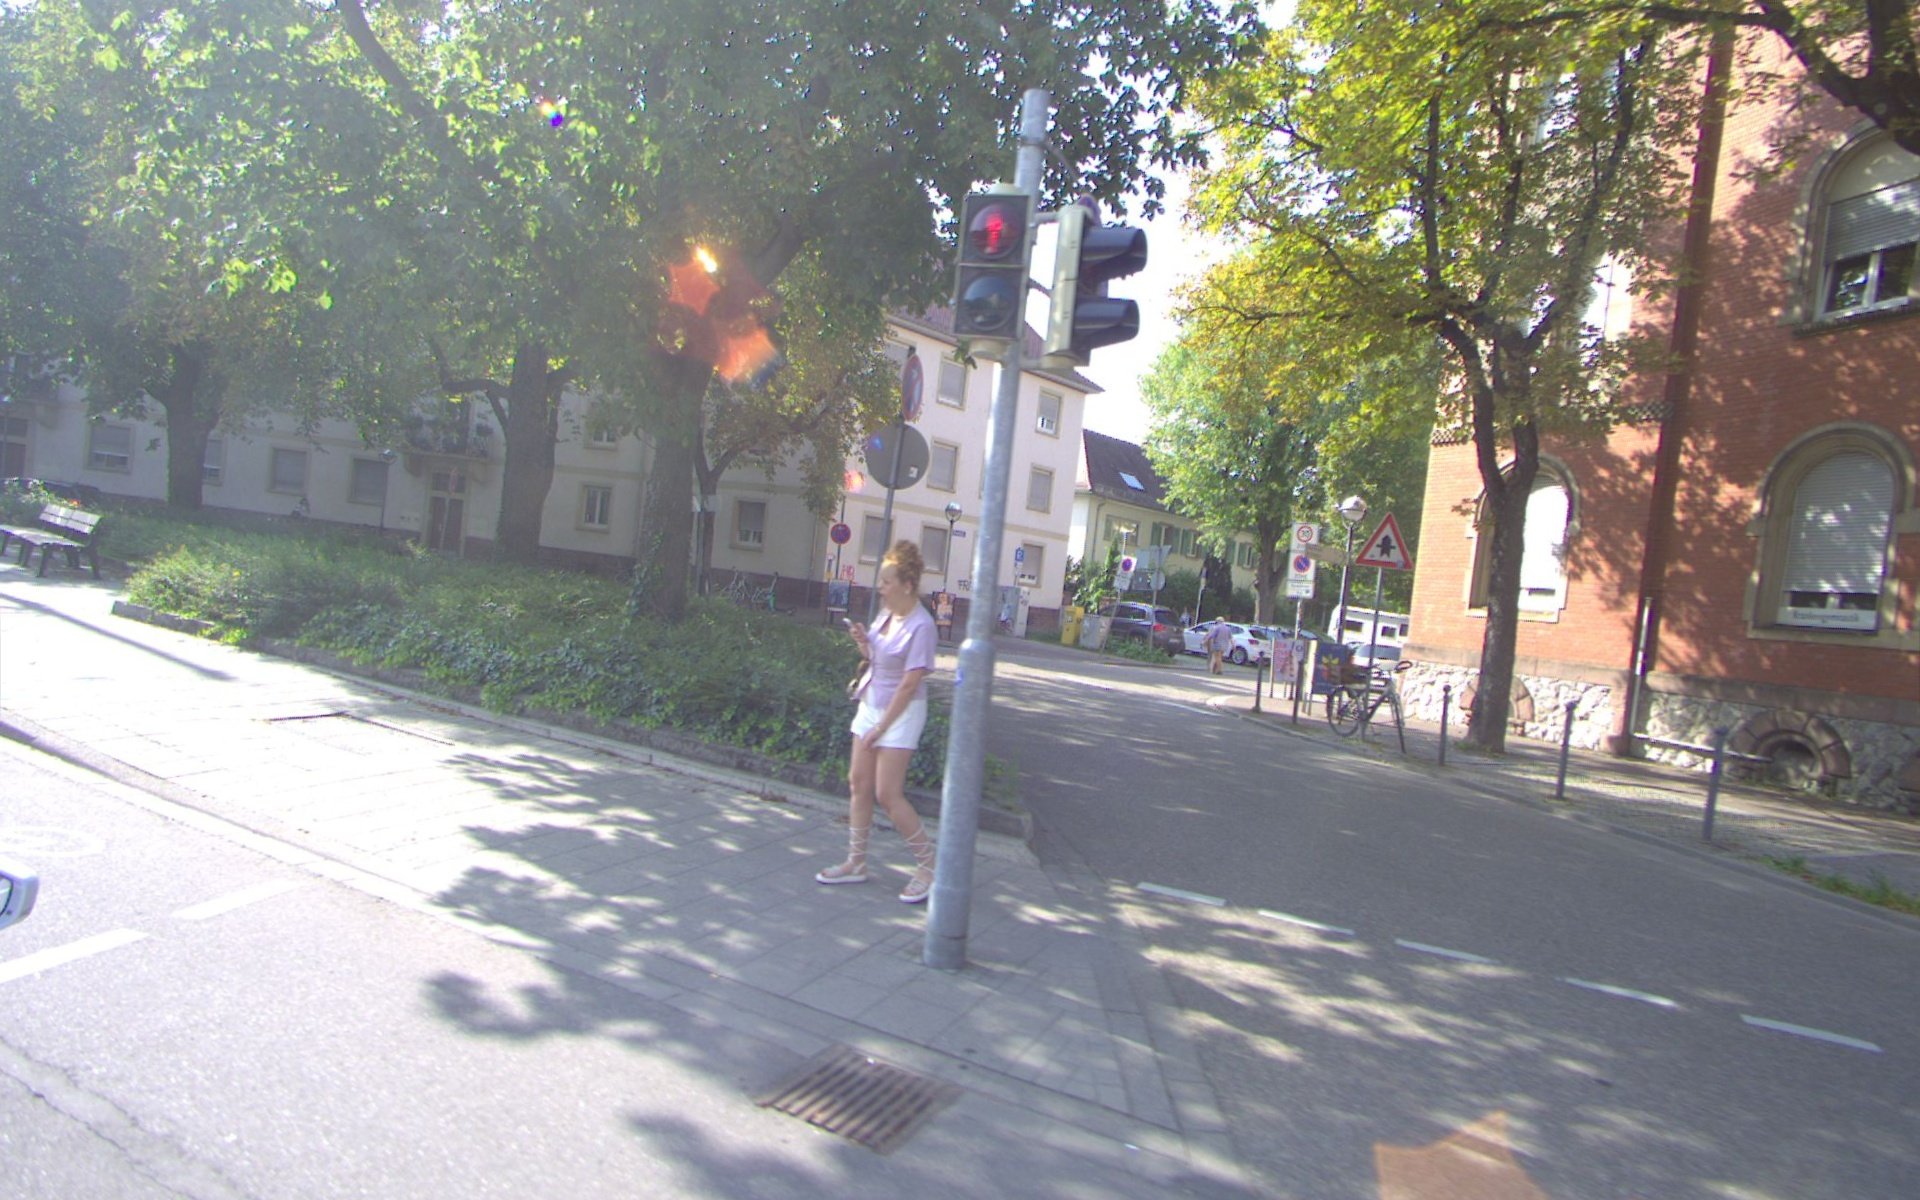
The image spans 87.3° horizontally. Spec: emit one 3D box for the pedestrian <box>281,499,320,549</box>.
[{"bbox_3d":[-24.277,-2.781,37.029,0.850,1.693,0.687,6,2,-2],"label":"pedestrian"}]

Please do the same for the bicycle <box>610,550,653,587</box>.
[{"bbox_3d":[-10.968,-1.046,33.578,1.462,1.074,0.416,7,2,29],"label":"bicycle"}]

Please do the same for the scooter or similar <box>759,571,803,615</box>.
[{"bbox_3d":[-5.261,-0.204,29.597,1.101,1.173,0.438,6,1,-30],"label":"scooter or similar"}]

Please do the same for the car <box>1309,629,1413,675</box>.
[{"bbox_3d":[18.392,2.378,46.264,3.963,1.386,1.655,11,4,40],"label":"car"}]

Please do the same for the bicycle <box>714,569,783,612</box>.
[{"bbox_3d":[-6.290,-0.288,29.965,1.824,1.071,0.602,6,1,-39],"label":"bicycle"}]

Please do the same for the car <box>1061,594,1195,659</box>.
[{"bbox_3d":[5.596,0.856,33.908,1.652,1.659,4.142,5,1,-44],"label":"car"}]

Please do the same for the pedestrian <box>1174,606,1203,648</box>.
[{"bbox_3d":[10.515,1.247,46.248,0.760,1.783,0.853,8,2,44],"label":"pedestrian"}]

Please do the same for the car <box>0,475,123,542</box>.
[{"bbox_3d":[-25.904,-2.598,27.785,3.824,1.471,1.747,7,2,-10],"label":"car"}]

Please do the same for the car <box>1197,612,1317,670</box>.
[{"bbox_3d":[11.374,1.554,38.662,3.963,1.481,1.655,11,4,40],"label":"car"}]

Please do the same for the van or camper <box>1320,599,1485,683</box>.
[{"bbox_3d":[21.721,1.951,49.669,1.989,2.917,6.850,8,2,-45],"label":"van or camper"}]

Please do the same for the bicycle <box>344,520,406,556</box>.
[{"bbox_3d":[-20.780,-2.194,35.737,1.873,1.020,0.534,7,2,5],"label":"bicycle"}]

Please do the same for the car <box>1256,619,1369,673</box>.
[{"bbox_3d":[14.568,1.906,41.697,3.963,1.481,1.655,11,4,40],"label":"car"}]

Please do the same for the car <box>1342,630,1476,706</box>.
[{"bbox_3d":[11.490,1.764,25.607,3.974,1.587,1.602,6,1,-44],"label":"car"}]

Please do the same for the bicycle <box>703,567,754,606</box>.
[{"bbox_3d":[-7.101,-0.394,30.949,0.597,1.071,1.870,7,1,15],"label":"bicycle"}]

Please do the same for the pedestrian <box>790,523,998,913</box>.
[{"bbox_3d":[-0.324,0.540,4.953,0.650,1.740,0.542,8,2,33],"label":"pedestrian"}]

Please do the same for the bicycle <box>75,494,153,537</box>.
[{"bbox_3d":[-27.562,-2.758,32.799,1.808,1.071,0.607,9,1,-7],"label":"bicycle"}]

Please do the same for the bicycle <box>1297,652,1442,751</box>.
[{"bbox_3d":[5.560,1.358,13.783,0.601,1.070,1.829,9,-1,-23],"label":"bicycle"}]

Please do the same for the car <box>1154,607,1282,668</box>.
[{"bbox_3d":[9.529,1.367,37.375,4.133,1.481,1.655,11,4,40],"label":"car"}]

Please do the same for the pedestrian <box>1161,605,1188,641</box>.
[{"bbox_3d":[9.982,1.080,46.784,0.760,1.567,0.853,8,2,44],"label":"pedestrian"}]

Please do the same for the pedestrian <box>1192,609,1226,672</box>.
[{"bbox_3d":[7.440,1.199,30.078,0.597,1.787,0.589,6,2,-15],"label":"pedestrian"}]

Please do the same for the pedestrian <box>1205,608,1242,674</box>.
[{"bbox_3d":[7.576,1.179,28.919,0.597,1.787,0.653,6,2,-13],"label":"pedestrian"}]
